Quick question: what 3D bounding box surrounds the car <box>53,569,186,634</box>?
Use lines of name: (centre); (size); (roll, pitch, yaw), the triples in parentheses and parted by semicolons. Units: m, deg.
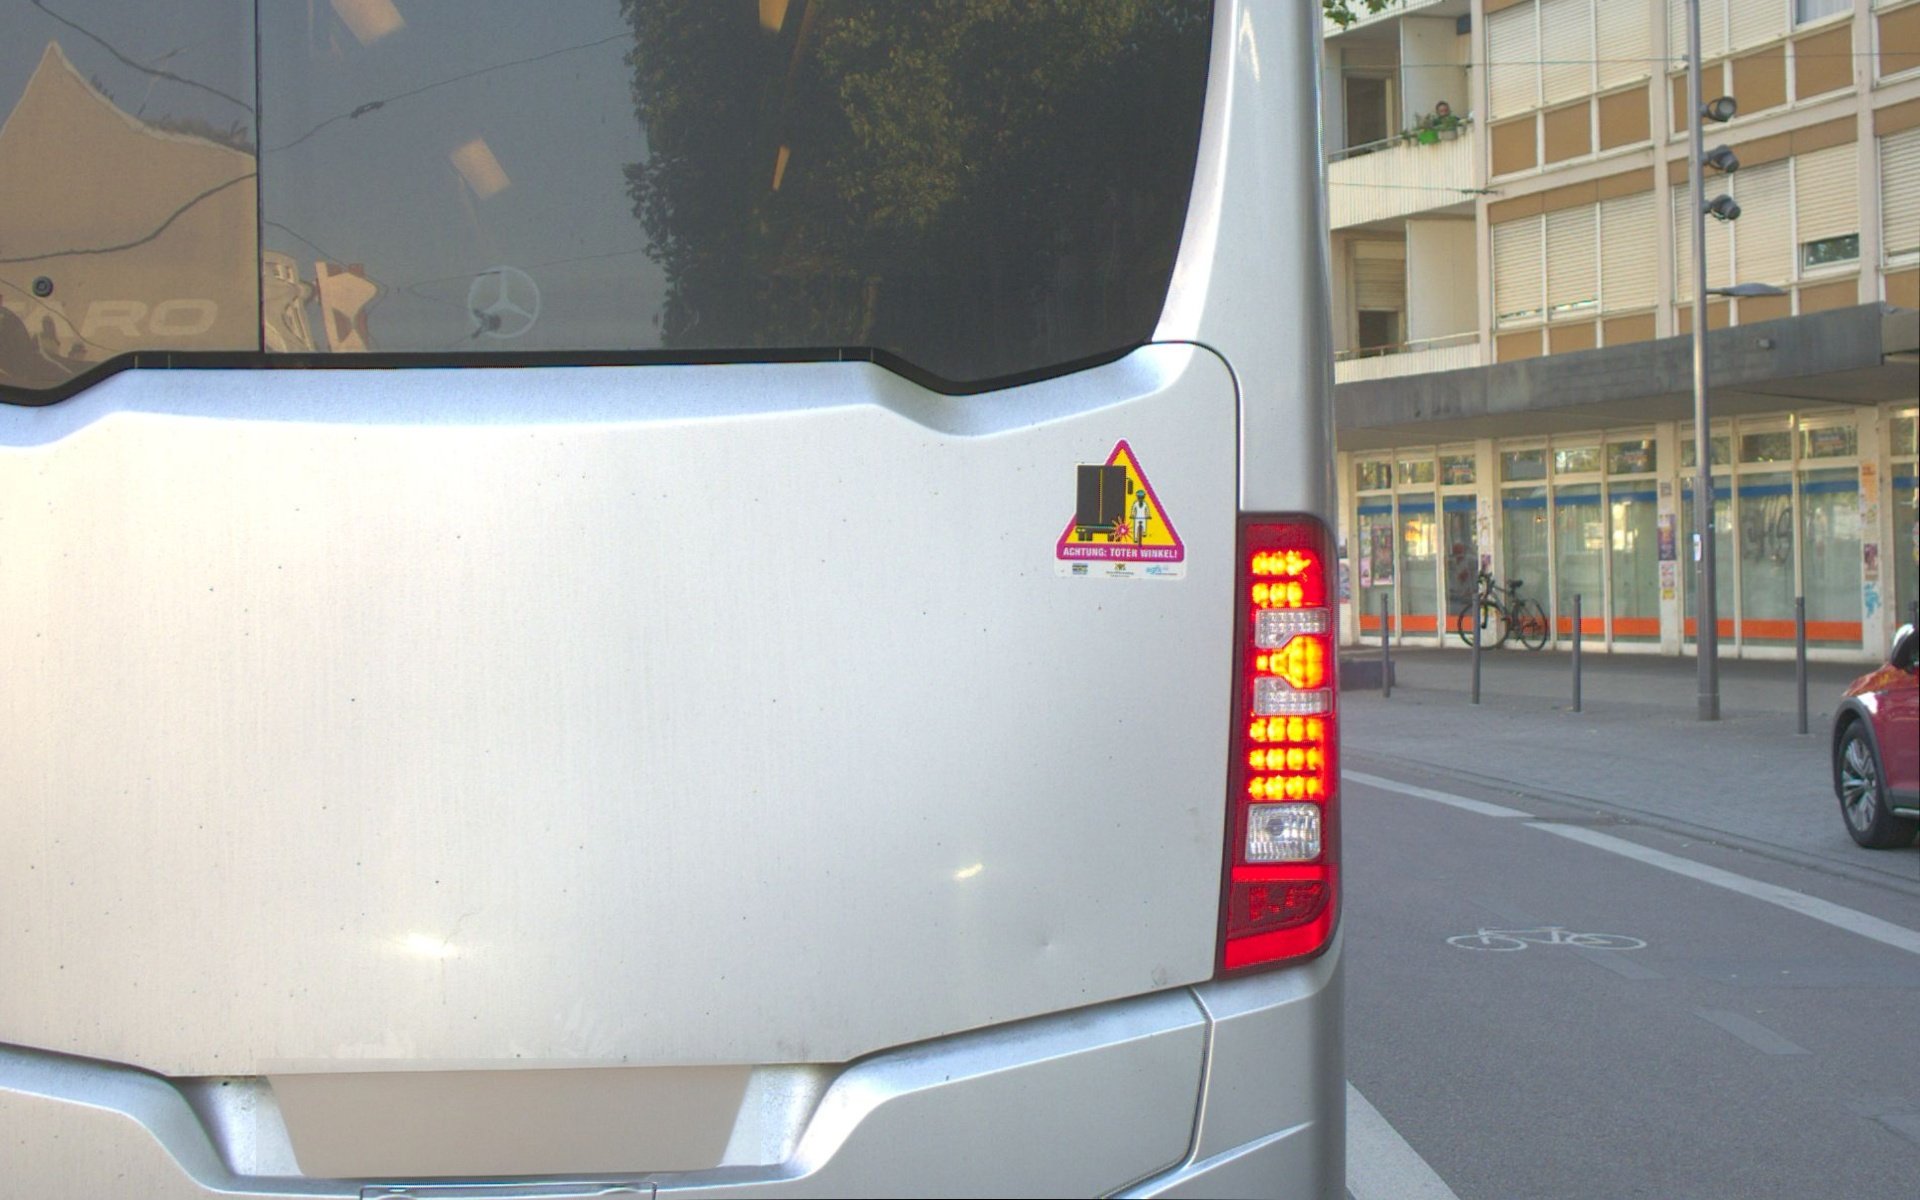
car: (-19.817, 0.019, 80.987); (1.663, 1.390, 3.411); (-6, 4, -39)

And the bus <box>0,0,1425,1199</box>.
bus: (-0.904, -0.147, 9.884); (2.657, 3.088, 10.217); (-1, 0, -2)

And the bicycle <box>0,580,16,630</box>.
bicycle: (-23.715, 0.112, 84.947); (0.507, 1.207, 2.093); (-1, 1, -21)

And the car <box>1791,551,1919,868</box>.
car: (5.503, 0.503, 15.989); (1.778, 1.491, 4.568); (-3, 1, -4)

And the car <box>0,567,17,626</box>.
car: (-25.688, -0.041, 88.045); (1.663, 1.463, 3.411); (-5, 4, -38)

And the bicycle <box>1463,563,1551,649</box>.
bicycle: (7.226, 0.070, 45.456); (0.437, 1.089, 1.462); (-4, 2, -20)
